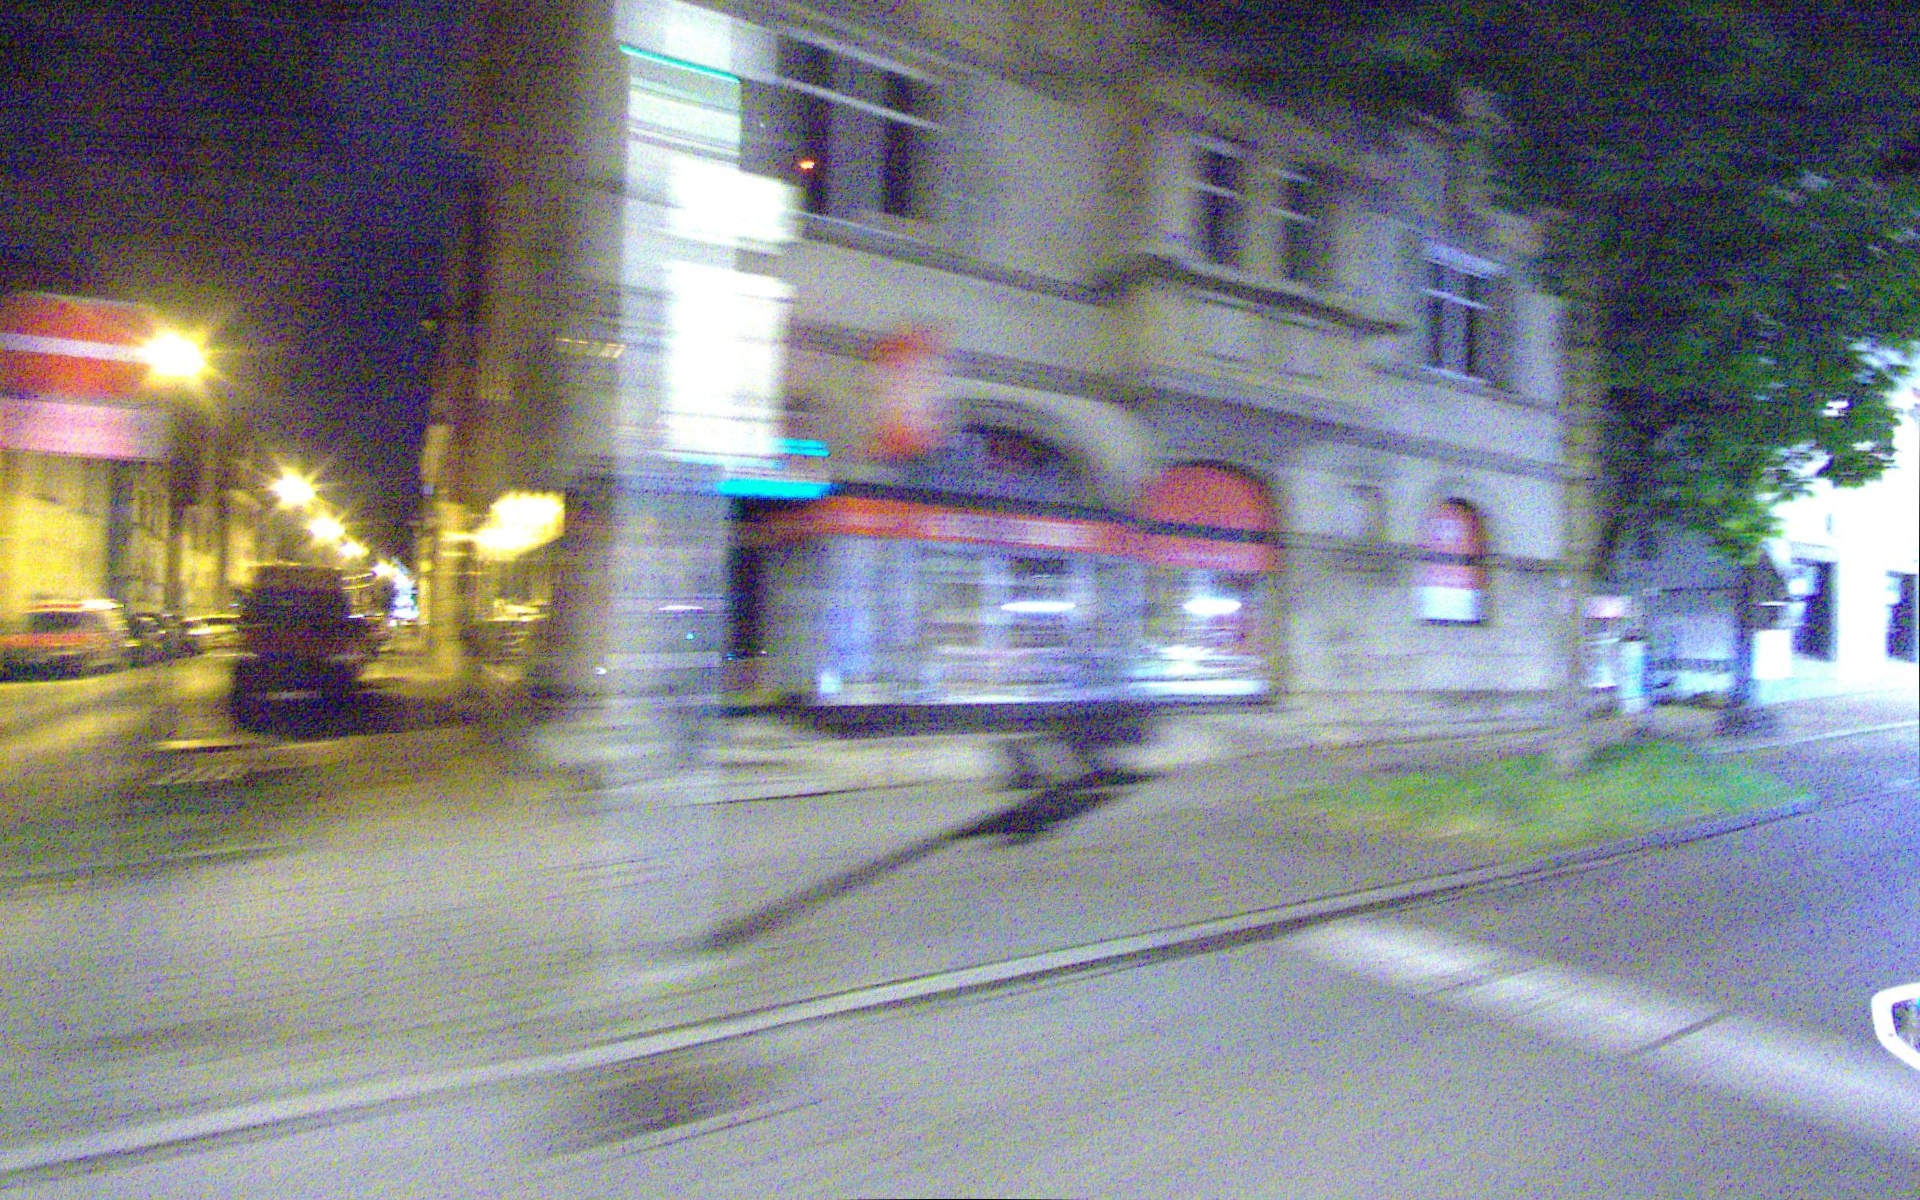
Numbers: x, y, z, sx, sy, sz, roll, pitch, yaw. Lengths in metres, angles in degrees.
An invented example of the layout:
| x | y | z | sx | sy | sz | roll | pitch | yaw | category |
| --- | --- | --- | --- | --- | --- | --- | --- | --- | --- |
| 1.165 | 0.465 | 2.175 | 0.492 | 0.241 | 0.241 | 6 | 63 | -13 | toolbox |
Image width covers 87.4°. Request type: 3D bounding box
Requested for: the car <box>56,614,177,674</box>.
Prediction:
| x | y | z | sx | sy | sz | roll | pitch | yaw | category |
| --- | --- | --- | --- | --- | --- | --- | --- | --- | --- |
| -24.603 | 1.229 | 29.451 | 1.848 | 1.576 | 4.212 | -1 | 0 | -28 | car |

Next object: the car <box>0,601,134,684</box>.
| x | y | z | sx | sy | sz | roll | pitch | yaw | category |
| --- | --- | --- | --- | --- | --- | --- | --- | --- | --- |
| -22.061 | 1.017 | 24.732 | 1.848 | 1.866 | 4.212 | 1 | -2 | -28 | car |

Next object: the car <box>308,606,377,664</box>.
| x | y | z | sx | sy | sz | roll | pitch | yaw | category |
| --- | --- | --- | --- | --- | --- | --- | --- | --- | --- |
| -22.520 | 1.238 | 36.751 | 1.865 | 1.909 | 4.249 | 5 | -3 | -30 | car |

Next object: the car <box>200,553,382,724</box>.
| x | y | z | sx | sy | sz | roll | pitch | yaw | category |
| --- | --- | --- | --- | --- | --- | --- | --- | --- | --- |
| -11.890 | 0.677 | 18.279 | 2.221 | 2.577 | 5.818 | 4 | -3 | -30 | car |

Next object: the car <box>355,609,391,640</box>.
| x | y | z | sx | sy | sz | roll | pitch | yaw | category |
| --- | --- | --- | --- | --- | --- | --- | --- | --- | --- |
| -39.121 | 1.634 | 67.013 | 1.865 | 1.909 | 4.250 | 5 | -3 | -29 | car |

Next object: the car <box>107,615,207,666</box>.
| x | y | z | sx | sy | sz | roll | pitch | yaw | category |
| --- | --- | --- | --- | --- | --- | --- | --- | --- | --- |
| -26.982 | 1.307 | 33.893 | 1.848 | 1.576 | 4.212 | -1 | 0 | -28 | car |

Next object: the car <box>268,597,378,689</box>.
| x | y | z | sx | sy | sz | roll | pitch | yaw | category |
| --- | --- | --- | --- | --- | --- | --- | --- | --- | --- |
| -14.865 | 0.959 | 23.647 | 1.865 | 1.909 | 4.249 | 5 | -3 | -30 | car |
